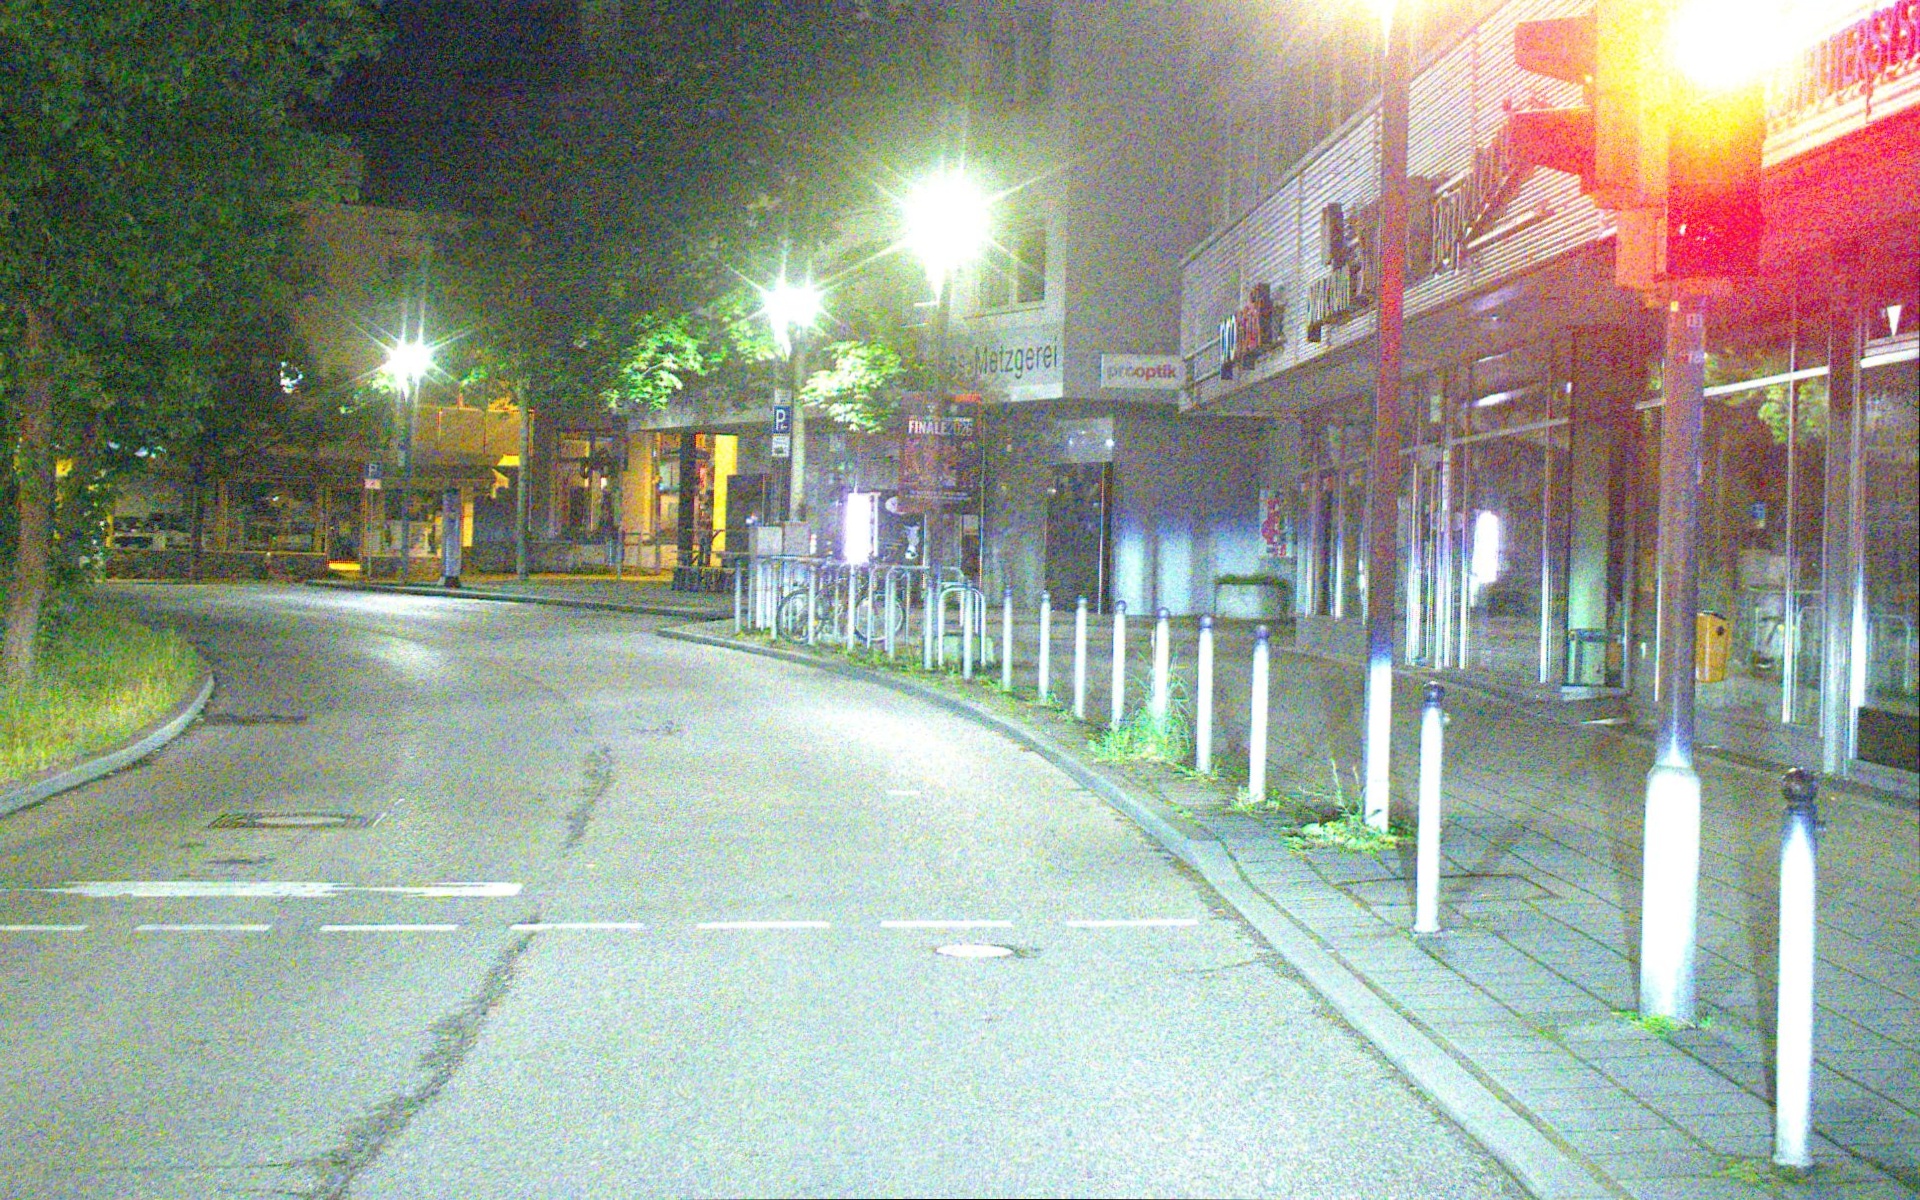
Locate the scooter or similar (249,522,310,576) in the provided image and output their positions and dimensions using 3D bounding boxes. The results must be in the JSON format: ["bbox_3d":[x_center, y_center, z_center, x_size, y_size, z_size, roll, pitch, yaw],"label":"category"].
[{"bbox_3d":[-16.294,-1.212,82.310,1.246,1.223,0.598,2,1,-29],"label":"scooter or similar"}]

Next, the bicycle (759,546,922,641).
[{"bbox_3d":[-1.387,-0.074,39.924,1.749,1.059,0.656,1,2,-26],"label":"bicycle"}]
